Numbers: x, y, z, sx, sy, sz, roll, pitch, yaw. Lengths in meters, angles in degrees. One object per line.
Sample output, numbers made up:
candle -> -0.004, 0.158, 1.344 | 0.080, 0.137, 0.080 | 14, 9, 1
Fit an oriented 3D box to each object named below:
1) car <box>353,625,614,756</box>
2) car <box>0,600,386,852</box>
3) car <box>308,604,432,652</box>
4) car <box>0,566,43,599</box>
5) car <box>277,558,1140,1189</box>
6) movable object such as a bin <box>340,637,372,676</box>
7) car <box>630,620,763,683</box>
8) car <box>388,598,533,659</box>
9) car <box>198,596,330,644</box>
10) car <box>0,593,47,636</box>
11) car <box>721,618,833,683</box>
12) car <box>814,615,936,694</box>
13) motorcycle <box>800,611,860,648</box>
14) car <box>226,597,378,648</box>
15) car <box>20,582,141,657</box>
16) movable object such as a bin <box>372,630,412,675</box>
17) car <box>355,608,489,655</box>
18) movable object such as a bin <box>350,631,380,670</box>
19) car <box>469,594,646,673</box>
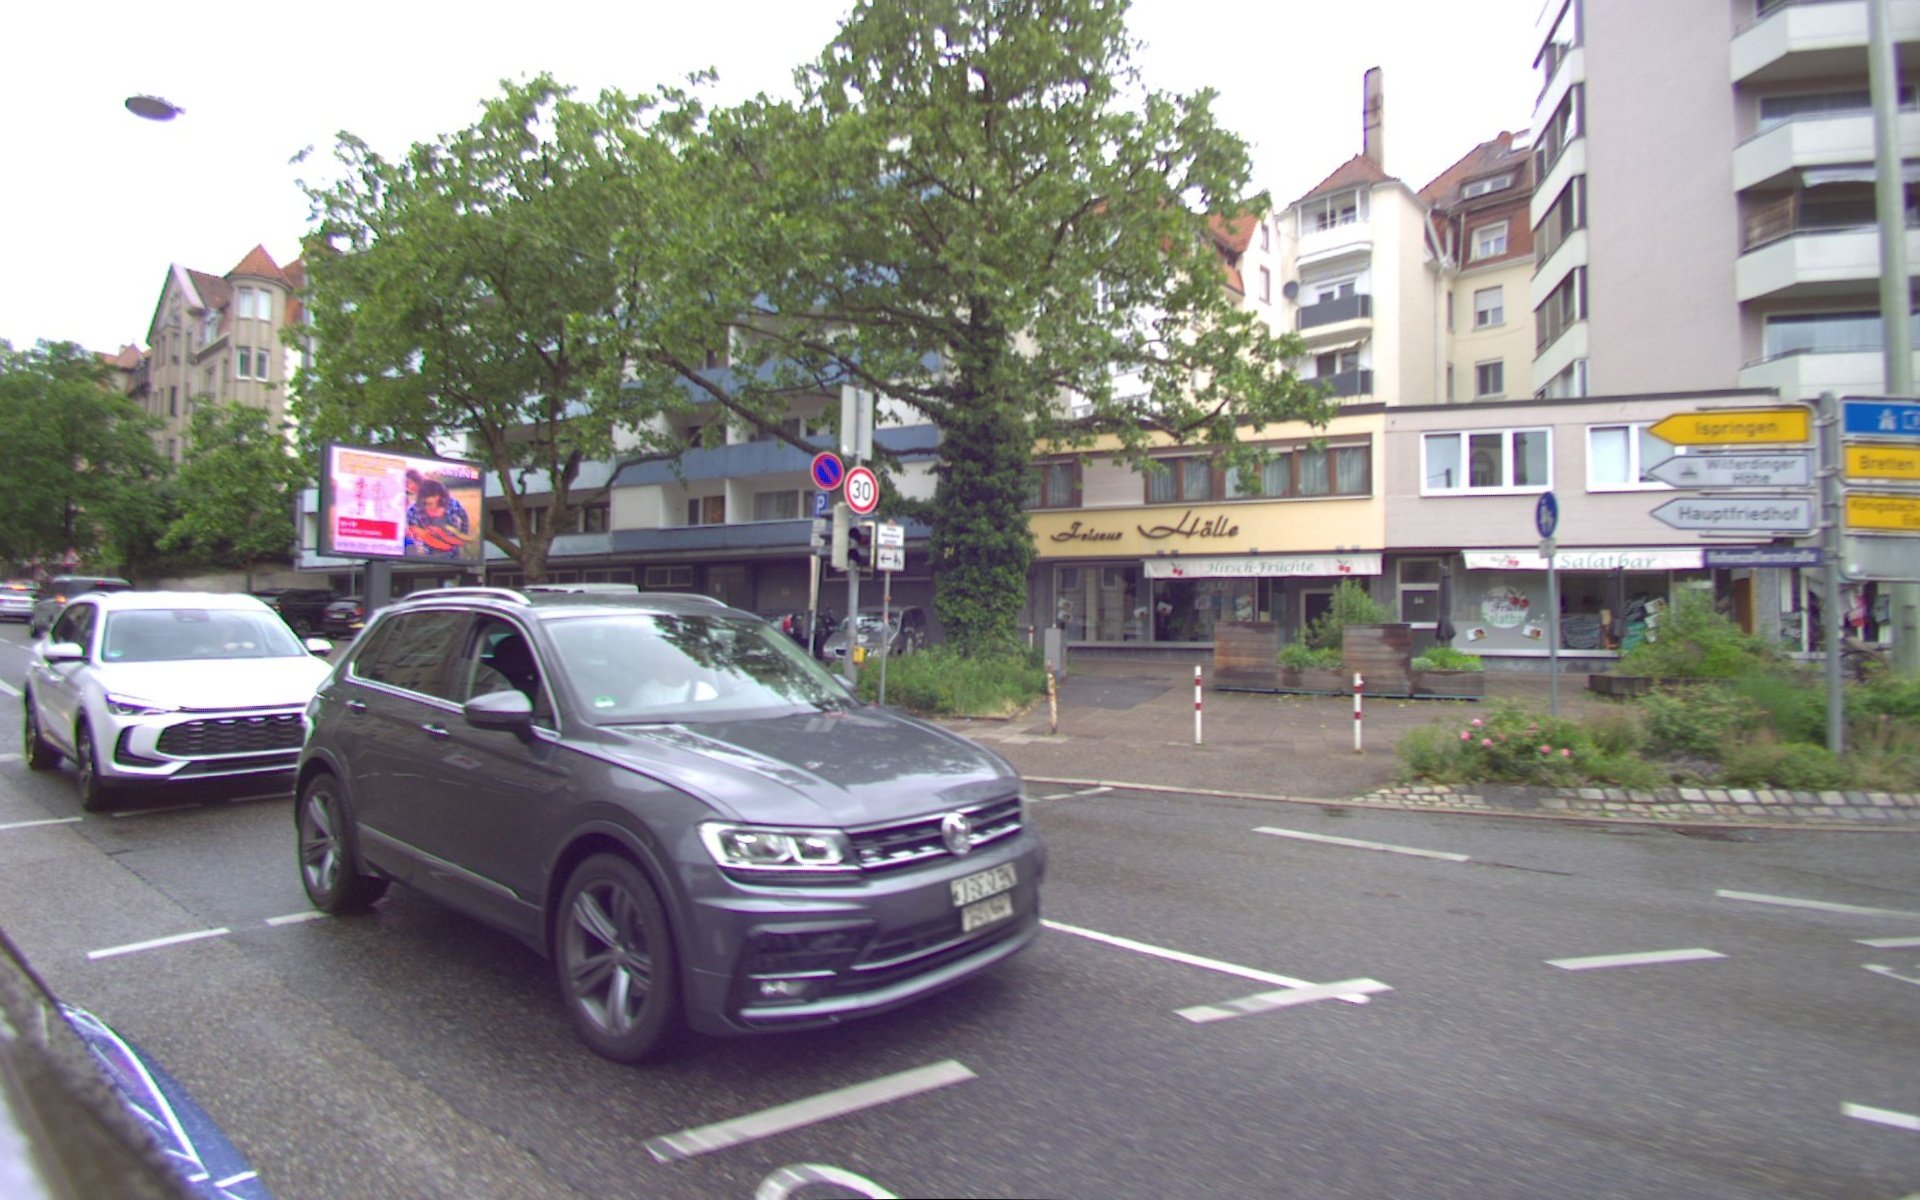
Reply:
car -> -6.516, 1.159, 13.724 | 3.678, 1.508, 1.697 | -1, -5, 39
car -> -6.890, 0.854, 8.869 | 4.374, 1.657, 1.735 | 1, 0, 39
car -> -20.104, 0.904, 34.686 | 1.661, 1.416, 3.826 | 1, 2, 9
car -> -48.970, -0.883, 52.384 | 3.885, 1.517, 1.730 | 0, -4, 42
car -> -1.462, 0.787, 4.697 | 4.208, 1.657, 1.734 | -2, -2, 40
movable object such as a bin -> -14.775, 1.375, 24.761 | 0.545, 0.908, 0.479 | 1, -1, 37
car -> -6.713, 1.273, 26.173 | 1.795, 1.426, 3.688 | 1, 0, 14
car -> -15.387, 0.863, 31.392 | 1.793, 1.702, 3.810 | 1, -1, 21
car -> -25.163, 0.671, 36.732 | 1.752, 1.543, 3.823 | 1, 2, 11
car -> -35.582, 0.492, 37.609 | 4.320, 1.459, 1.709 | 1, -4, 39
car -> -4.475, 1.195, 25.290 | 1.613, 1.426, 3.611 | 1, 0, 10
car -> -1.940, 1.226, 24.426 | 1.920, 1.655, 4.203 | 1, 0, 10
motorcycle -> -4.390, 0.988, 34.111 | 1.953, 1.176, 0.697 | 1, -1, 30
car -> -22.527, 0.717, 34.866 | 1.795, 1.605, 4.290 | 1, 1, 15
car -> -25.138, 0.536, 28.891 | 4.238, 1.896, 1.795 | 1, -5, 40
movable object such as a bin -> -14.034, 1.290, 25.019 | 0.626, 1.088, 0.635 | 1, -1, 37
car -> -17.747, 1.015, 33.559 | 1.678, 1.416, 3.813 | 1, -1, 18
movable object such as a bin -> -15.238, 1.294, 25.912 | 0.511, 0.971, 0.479 | 1, -1, 37
car -> -11.189, 0.861, 28.579 | 1.866, 1.992, 4.944 | 1, 0, 19
